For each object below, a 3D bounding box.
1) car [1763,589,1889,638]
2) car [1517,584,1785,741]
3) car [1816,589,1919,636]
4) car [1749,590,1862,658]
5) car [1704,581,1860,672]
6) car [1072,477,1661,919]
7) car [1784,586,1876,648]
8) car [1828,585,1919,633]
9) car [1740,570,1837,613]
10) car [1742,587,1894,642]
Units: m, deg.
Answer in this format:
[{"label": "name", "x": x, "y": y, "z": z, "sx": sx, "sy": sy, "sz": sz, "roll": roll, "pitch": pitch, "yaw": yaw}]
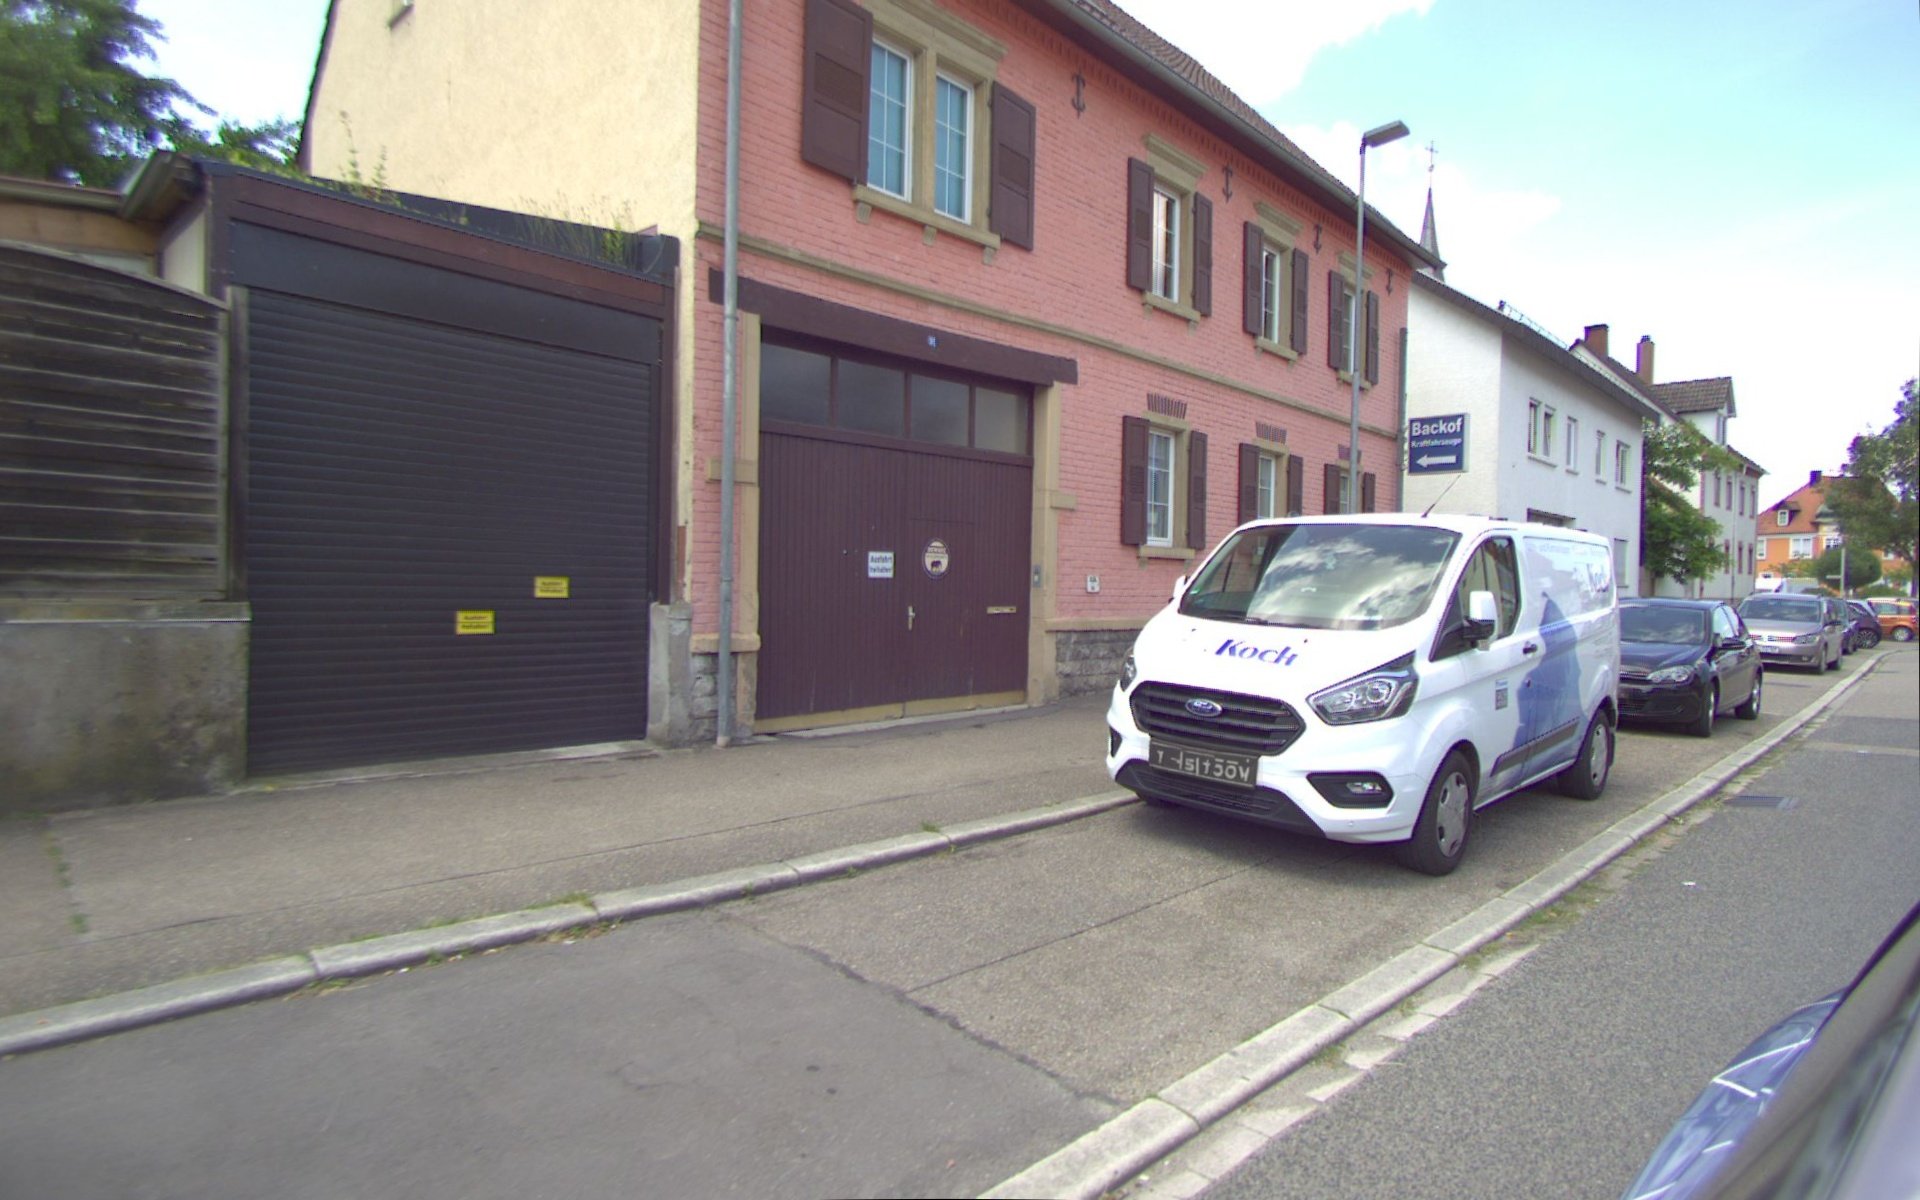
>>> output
[{"label": "car", "x": 29.380, "y": 0.430, "z": 34.429, "sx": 2.758, "sy": 1.523, "sz": 1.863, "roll": 2, "pitch": 1, "yaw": 24}, {"label": "car", "x": 8.432, "y": 0.612, "z": 12.210, "sx": 4.091, "sy": 1.513, "sz": 1.777, "roll": 0, "pitch": 3, "yaw": -43}, {"label": "car", "x": 34.634, "y": 0.441, "z": 38.158, "sx": 1.697, "sy": 1.596, "sz": 3.382, "roll": 0, "pitch": 3, "yaw": -43}, {"label": "car", "x": 21.770, "y": 0.542, "z": 26.001, "sx": 1.993, "sy": 1.536, "sz": 4.304, "roll": 2, "pitch": 2, "yaw": 43}, {"label": "car", "x": 17.524, "y": 0.484, "z": 21.515, "sx": 4.250, "sy": 1.701, "sz": 1.996, "roll": 0, "pitch": 2, "yaw": -43}, {"label": "car", "x": 3.077, "y": 0.372, "z": 6.954, "sx": 4.850, "sy": 2.006, "sz": 1.894, "roll": 0, "pitch": 4, "yaw": -45}, {"label": "car", "x": 25.343, "y": 0.439, "z": 29.446, "sx": 4.202, "sy": 1.644, "sz": 1.664, "roll": 0, "pitch": 2, "yaw": -45}, {"label": "car", "x": 36.488, "y": 0.351, "z": 39.455, "sx": 3.850, "sy": 1.596, "sz": 1.822, "roll": 5, "pitch": 6, "yaw": 44}, {"label": "car", "x": 61.106, "y": -0.659, "z": 74.665, "sx": 6.967, "sy": 2.999, "sz": 2.767, "roll": 0, "pitch": 2, "yaw": -26}, {"label": "car", "x": 27.372, "y": 0.428, "z": 32.425, "sx": 3.198, "sy": 1.523, "sz": 1.814, "roll": 3, "pitch": 2, "yaw": 21}]
